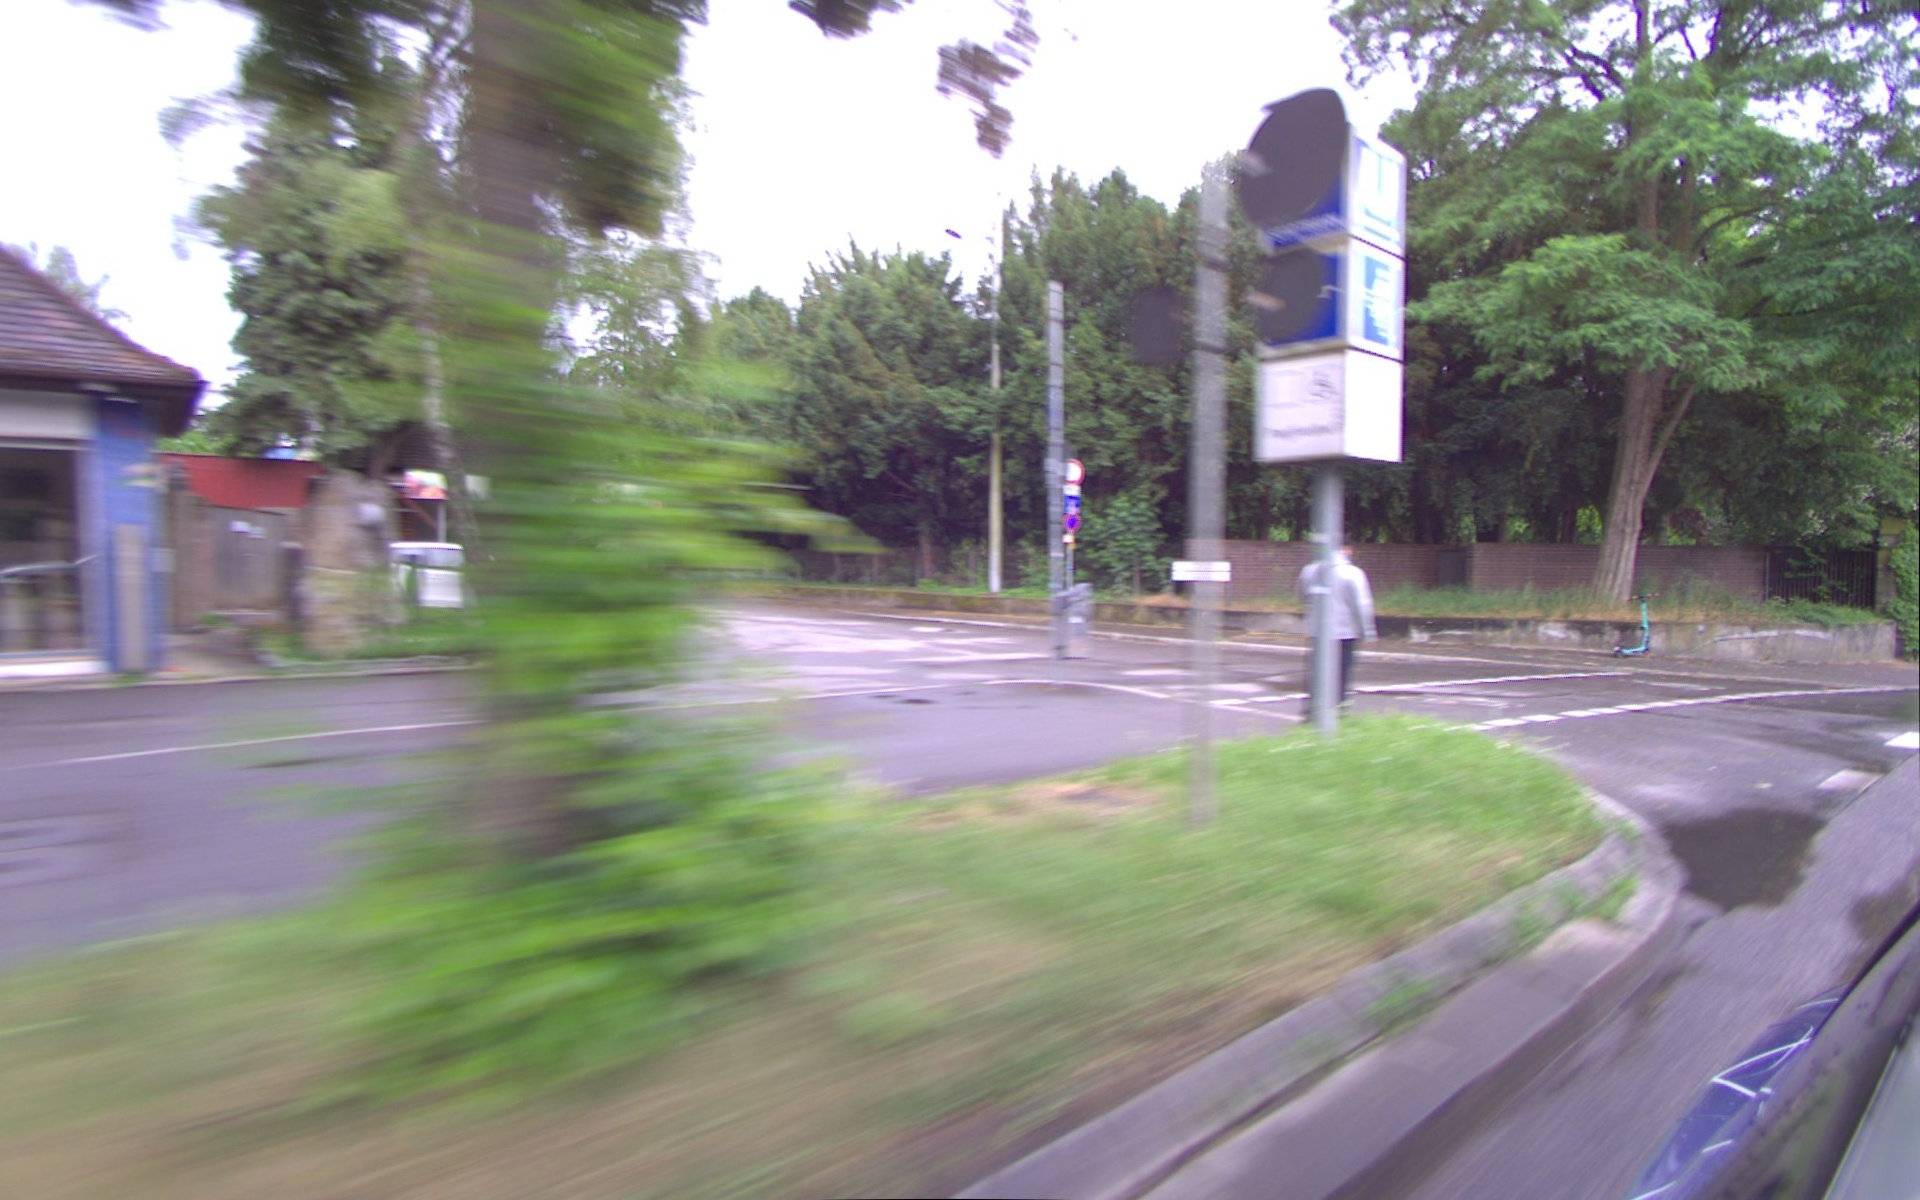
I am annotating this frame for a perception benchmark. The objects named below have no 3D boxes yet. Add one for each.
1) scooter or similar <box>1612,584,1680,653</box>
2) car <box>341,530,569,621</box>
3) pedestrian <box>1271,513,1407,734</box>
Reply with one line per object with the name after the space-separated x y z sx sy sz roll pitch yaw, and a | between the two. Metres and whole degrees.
13.095 0.346 19.308 1.288 1.245 0.516 0 4 -32 | scooter or similar
-9.885 -0.490 20.099 3.683 1.598 1.838 2 2 -12 | car
3.418 0.187 9.145 0.723 1.877 0.857 1 1 -37 | pedestrian
